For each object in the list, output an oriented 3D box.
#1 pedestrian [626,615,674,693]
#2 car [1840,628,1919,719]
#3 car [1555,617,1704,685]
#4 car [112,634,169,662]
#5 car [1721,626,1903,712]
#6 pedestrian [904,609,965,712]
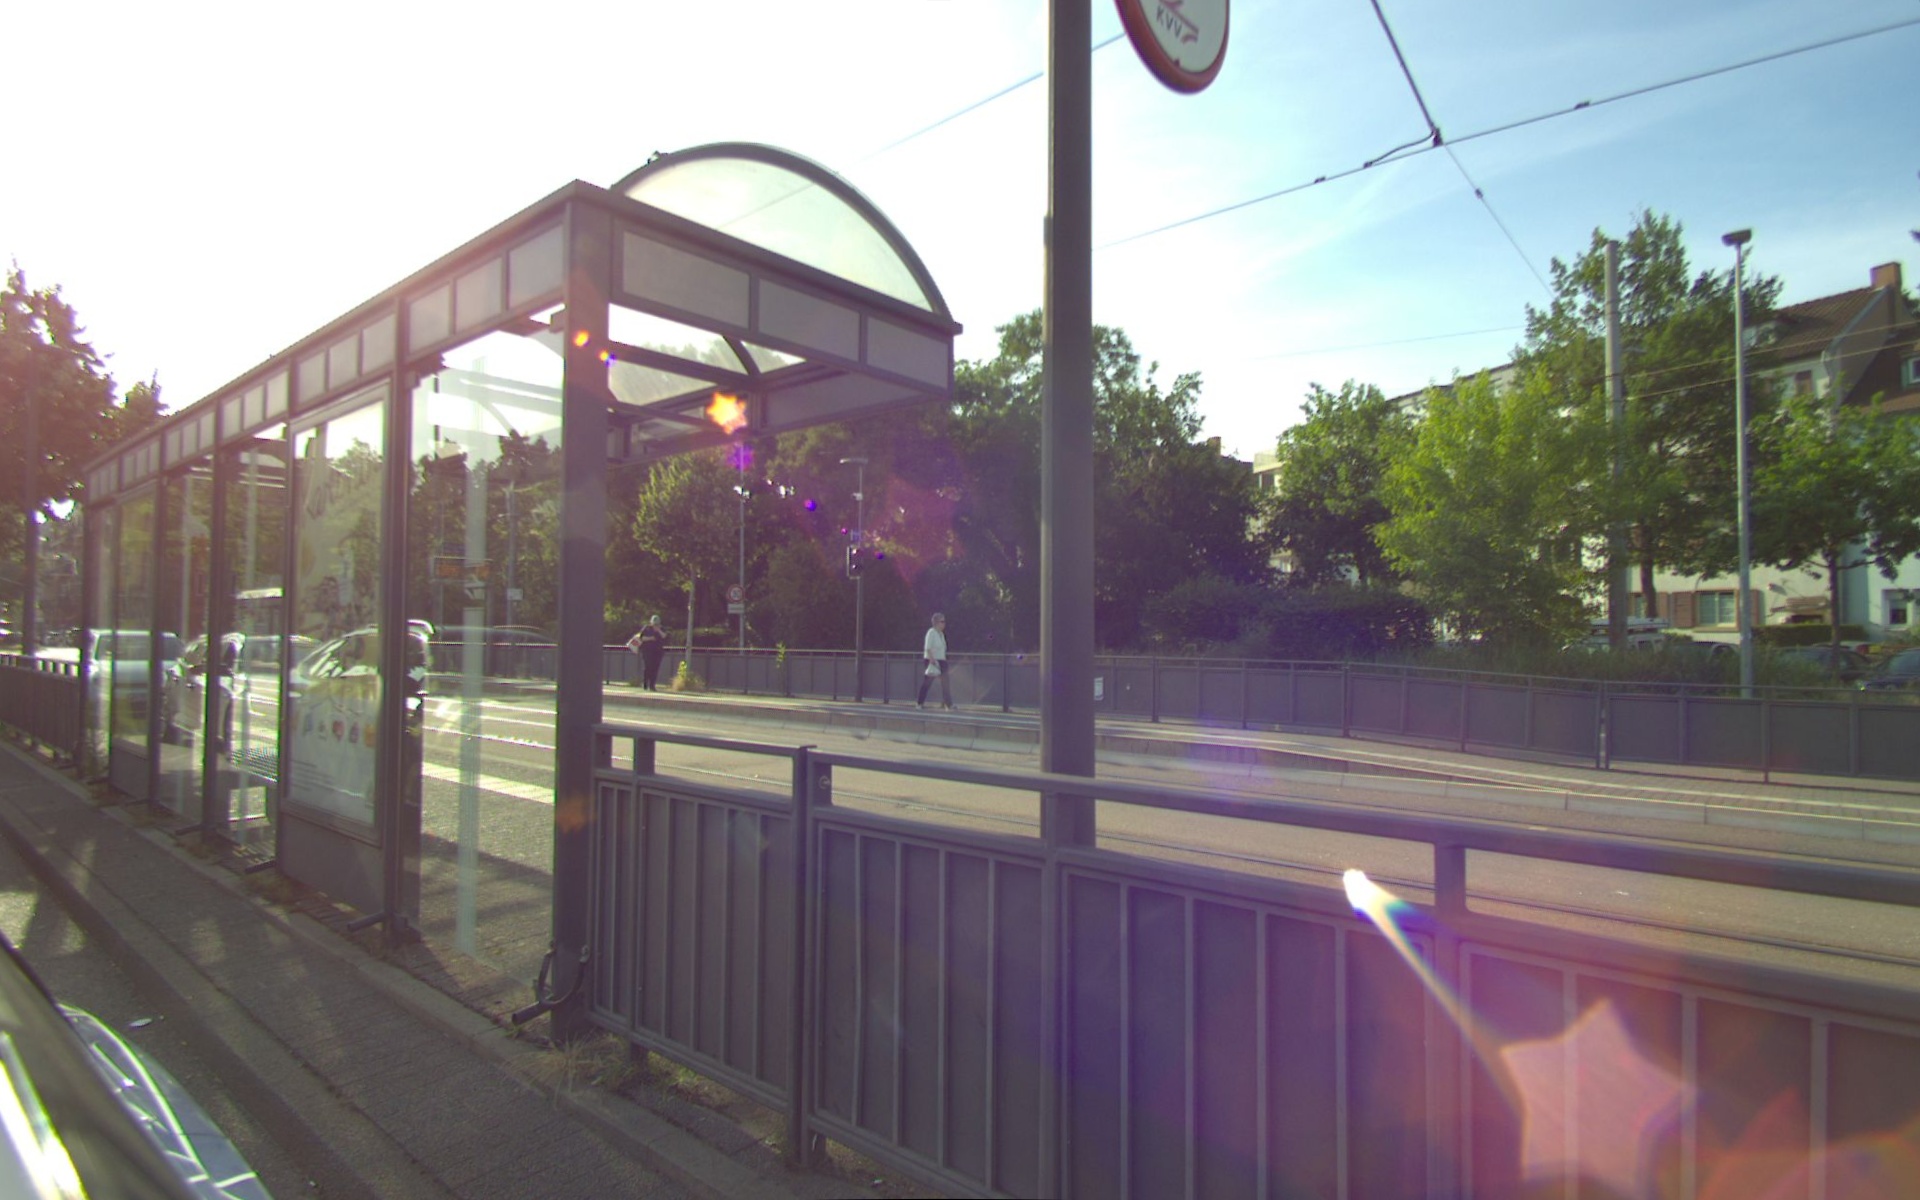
[{"bbox_3d":[-6.702,1.155,21.904,0.689,1.640,0.727,-2,-3,41],"label":"pedestrian"},{"bbox_3d":[20.217,1.495,20.909,3.931,1.767,1.860,2,-3,-30],"label":"car"},{"bbox_3d":[18.460,1.395,27.880,3.931,1.767,1.860,2,-3,-30],"label":"car"},{"bbox_3d":[-60.319,3.505,74.447,3.985,2.029,1.979,-1,-3,31],"label":"car"},{"bbox_3d":[19.005,1.490,22.561,3.931,1.767,1.860,2,-3,-30],"label":"car"},{"bbox_3d":[-0.415,0.985,16.620,0.727,1.640,0.699,-2,-3,41],"label":"pedestrian"}]
